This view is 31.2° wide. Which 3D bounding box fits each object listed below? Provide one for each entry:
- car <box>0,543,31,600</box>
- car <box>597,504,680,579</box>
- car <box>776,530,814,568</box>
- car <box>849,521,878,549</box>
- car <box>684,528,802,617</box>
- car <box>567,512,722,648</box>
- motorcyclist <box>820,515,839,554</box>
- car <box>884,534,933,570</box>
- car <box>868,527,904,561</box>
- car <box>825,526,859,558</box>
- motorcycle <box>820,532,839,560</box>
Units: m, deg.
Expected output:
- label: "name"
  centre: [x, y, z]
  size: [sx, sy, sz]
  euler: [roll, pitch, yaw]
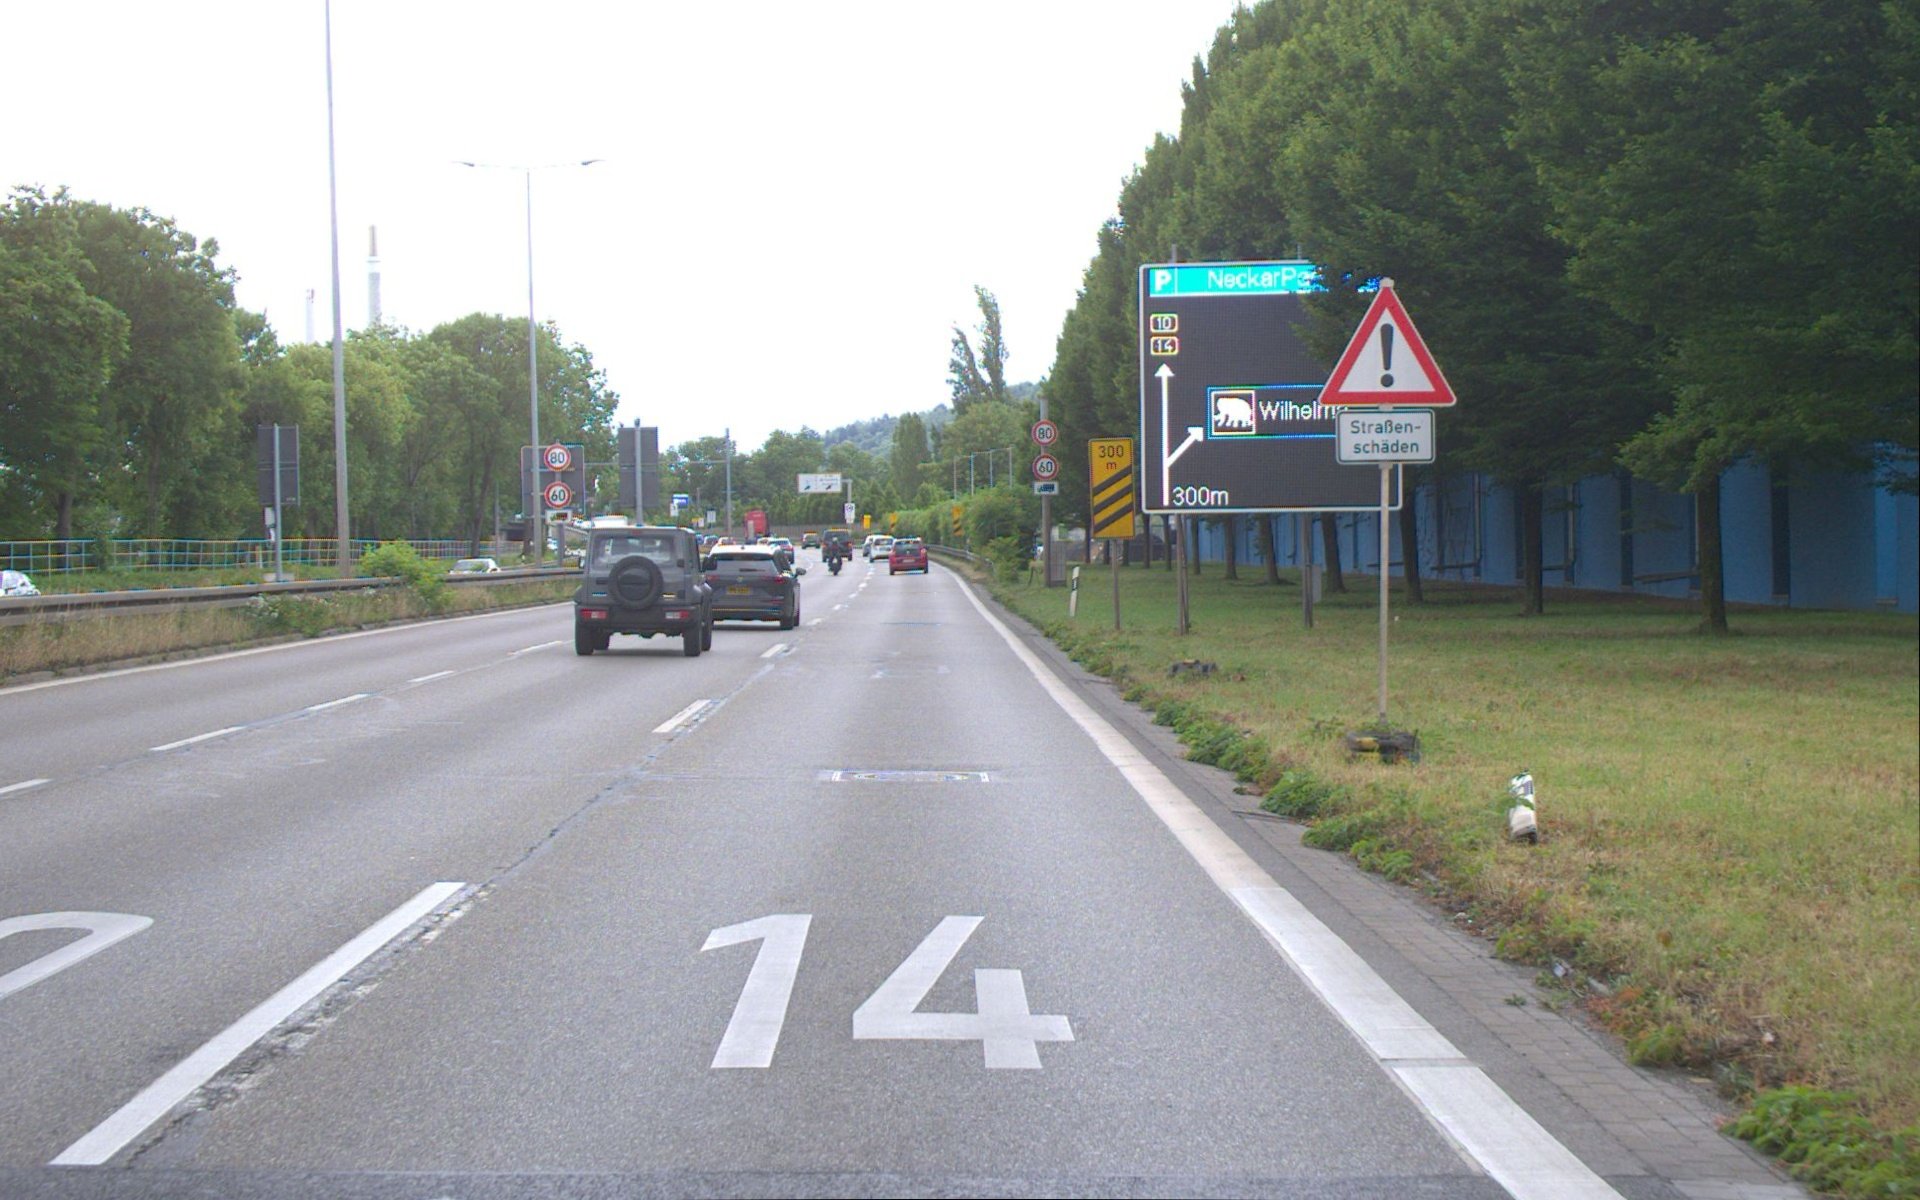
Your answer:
- label: "car"
  centre: [-23.445, -0.666, 81.534]
  size: [1.659, 1.294, 4.788]
  euler: [0, 2, -2]
- label: "car"
  centre: [-7.799, -1.446, 83.717]
  size: [1.697, 1.736, 4.001]
  euler: [2, 2, -2]
- label: "car"
  centre: [-7.914, -2.468, 164.531]
  size: [1.697, 1.736, 4.394]
  euler: [-2, 1, -4]
- label: "car"
  centre: [-6.810, -4.584, 242.176]
  size: [2.013, 1.927, 4.901]
  euler: [-2, 1, -2]
- label: "car"
  centre: [-3.744, -0.500, 59.882]
  size: [1.845, 1.418, 4.901]
  euler: [-2, 1, -2]
- label: "car"
  centre: [-4.169, -0.308, 45.949]
  size: [1.697, 1.680, 4.000]
  euler: [2, 2, -1]
- label: "motorcyclist"
  centre: [-5.813, -2.925, 153.153]
  size: [0.791, 1.754, 0.923]
  euler: [0, 1, 0]
- label: "car"
  centre: [-2.223, -2.062, 147.274]
  size: [1.974, 1.418, 4.901]
  euler: [-2, 1, -2]
- label: "car"
  centre: [-4.382, -3.308, 202.787]
  size: [2.013, 1.927, 4.901]
  euler: [-2, 1, -2]
- label: "car"
  centre: [-7.429, -3.682, 216.606]
  size: [2.013, 1.927, 4.901]
  euler: [-2, 1, -2]
- label: "motorcycle"
  centre: [-5.814, -2.431, 153.064]
  size: [0.791, 1.215, 2.330]
  euler: [0, 2, -1]
